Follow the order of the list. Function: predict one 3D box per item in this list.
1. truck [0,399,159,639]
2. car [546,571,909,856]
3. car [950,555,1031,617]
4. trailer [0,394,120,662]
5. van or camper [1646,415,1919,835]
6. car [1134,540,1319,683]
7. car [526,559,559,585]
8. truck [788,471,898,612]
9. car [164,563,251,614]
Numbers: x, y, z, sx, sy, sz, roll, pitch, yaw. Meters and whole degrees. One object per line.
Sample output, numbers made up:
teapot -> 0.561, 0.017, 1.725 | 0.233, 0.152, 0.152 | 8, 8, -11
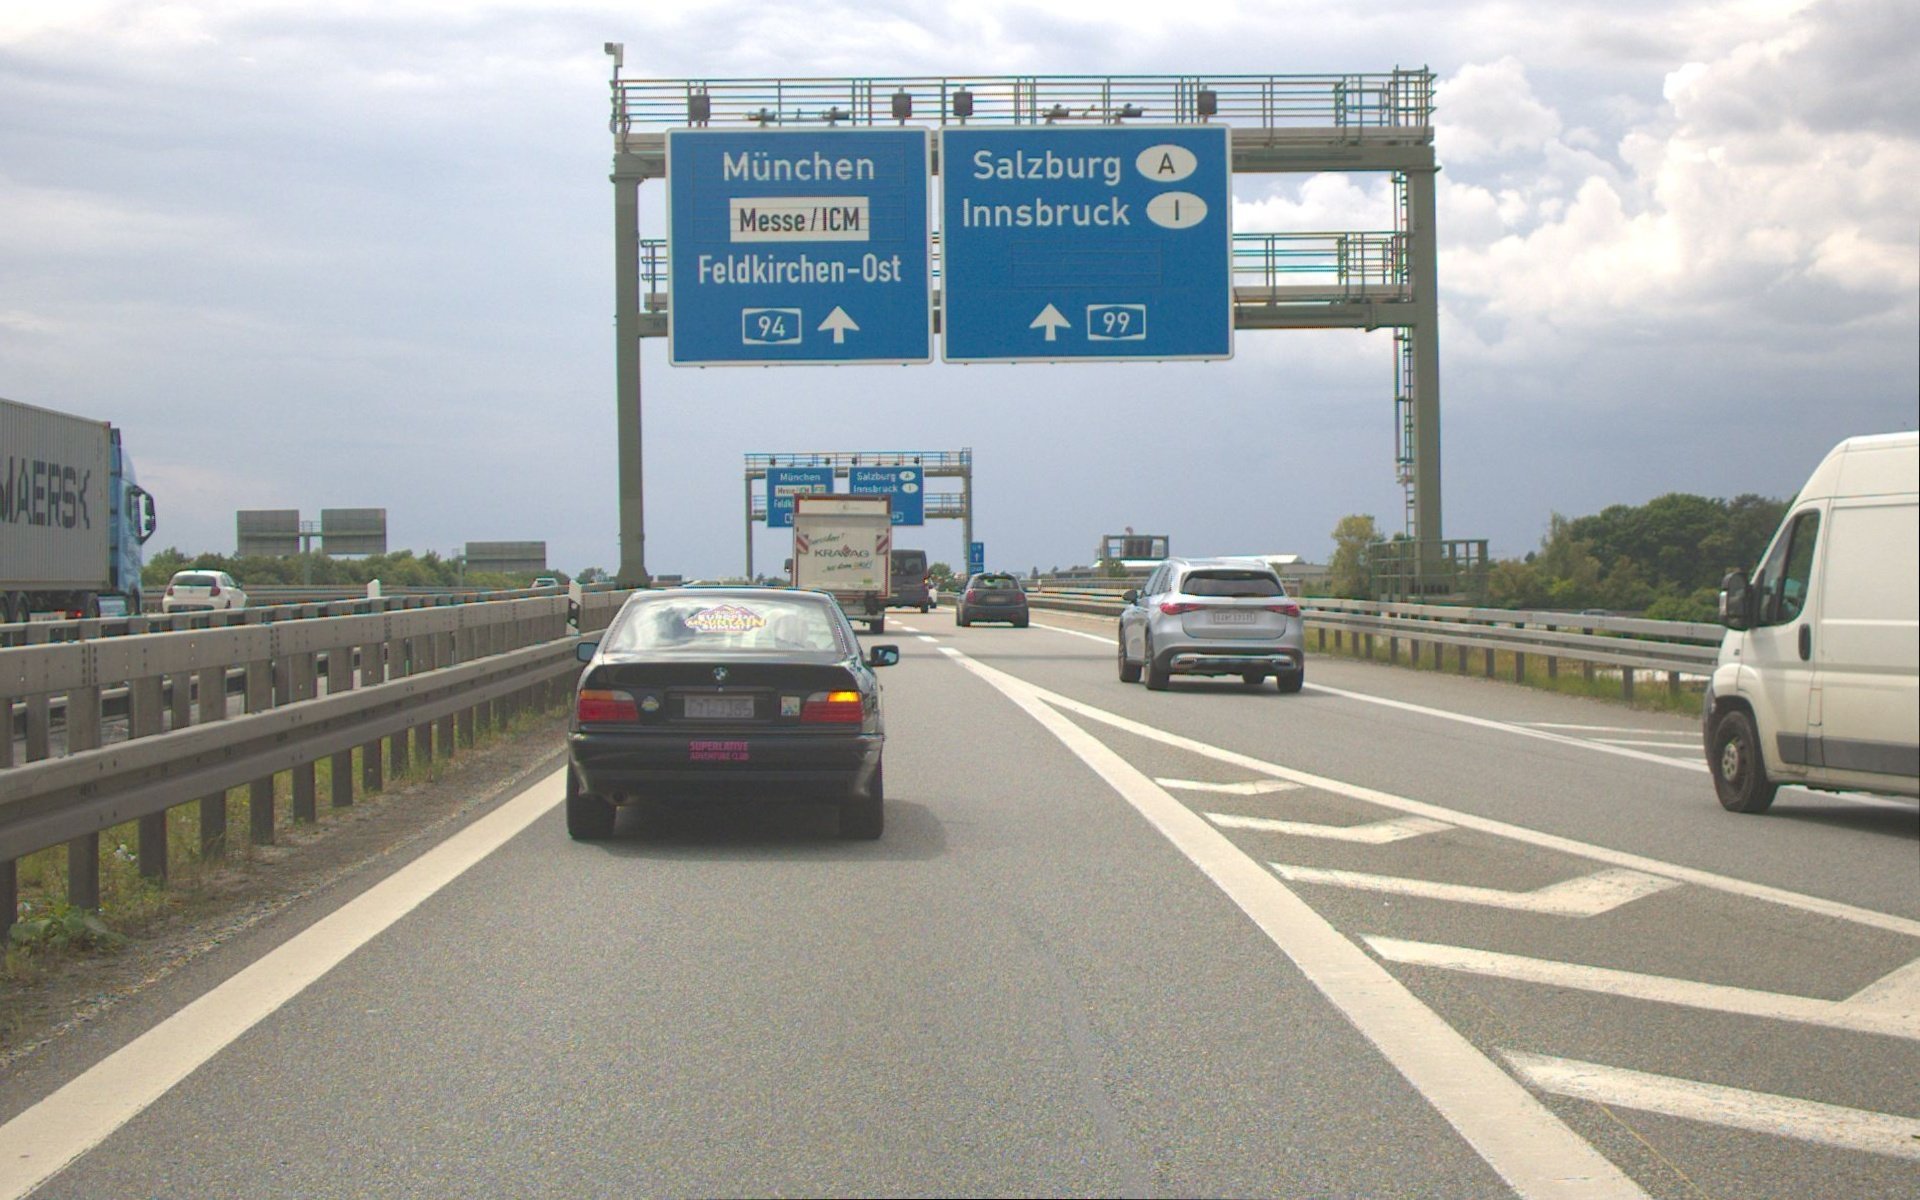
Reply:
truck -> -16.121, -1.385, 59.424 | 3.246, 3.898, 6.611 | 1, 1, -3
car -> -1.204, 0.548, 19.168 | 1.782, 1.373, 4.137 | 1, 1, -1
car -> 0.780, -0.385, 90.008 | 1.993, 1.547, 4.000 | 1, 1, -1
trailer -> -15.766, -1.102, 52.871 | 3.236, 3.911, 12.382 | 1, 1, -3
van or camper -> 6.349, 0.151, 20.043 | 2.223, 2.353, 5.942 | 1, 1, -14
car -> 3.256, 0.103, 42.765 | 1.936, 1.679, 4.209 | 0, 1, 0
car -> -27.546, -1.855, 226.959 | 1.892, 1.592, 4.418 | 1, 1, -4
truck -> -2.660, -1.345, 79.330 | 2.404, 3.079, 6.371 | 1, 1, -1
car -> -20.497, -0.333, 93.789 | 1.752, 1.364, 4.206 | 0, 1, -4
